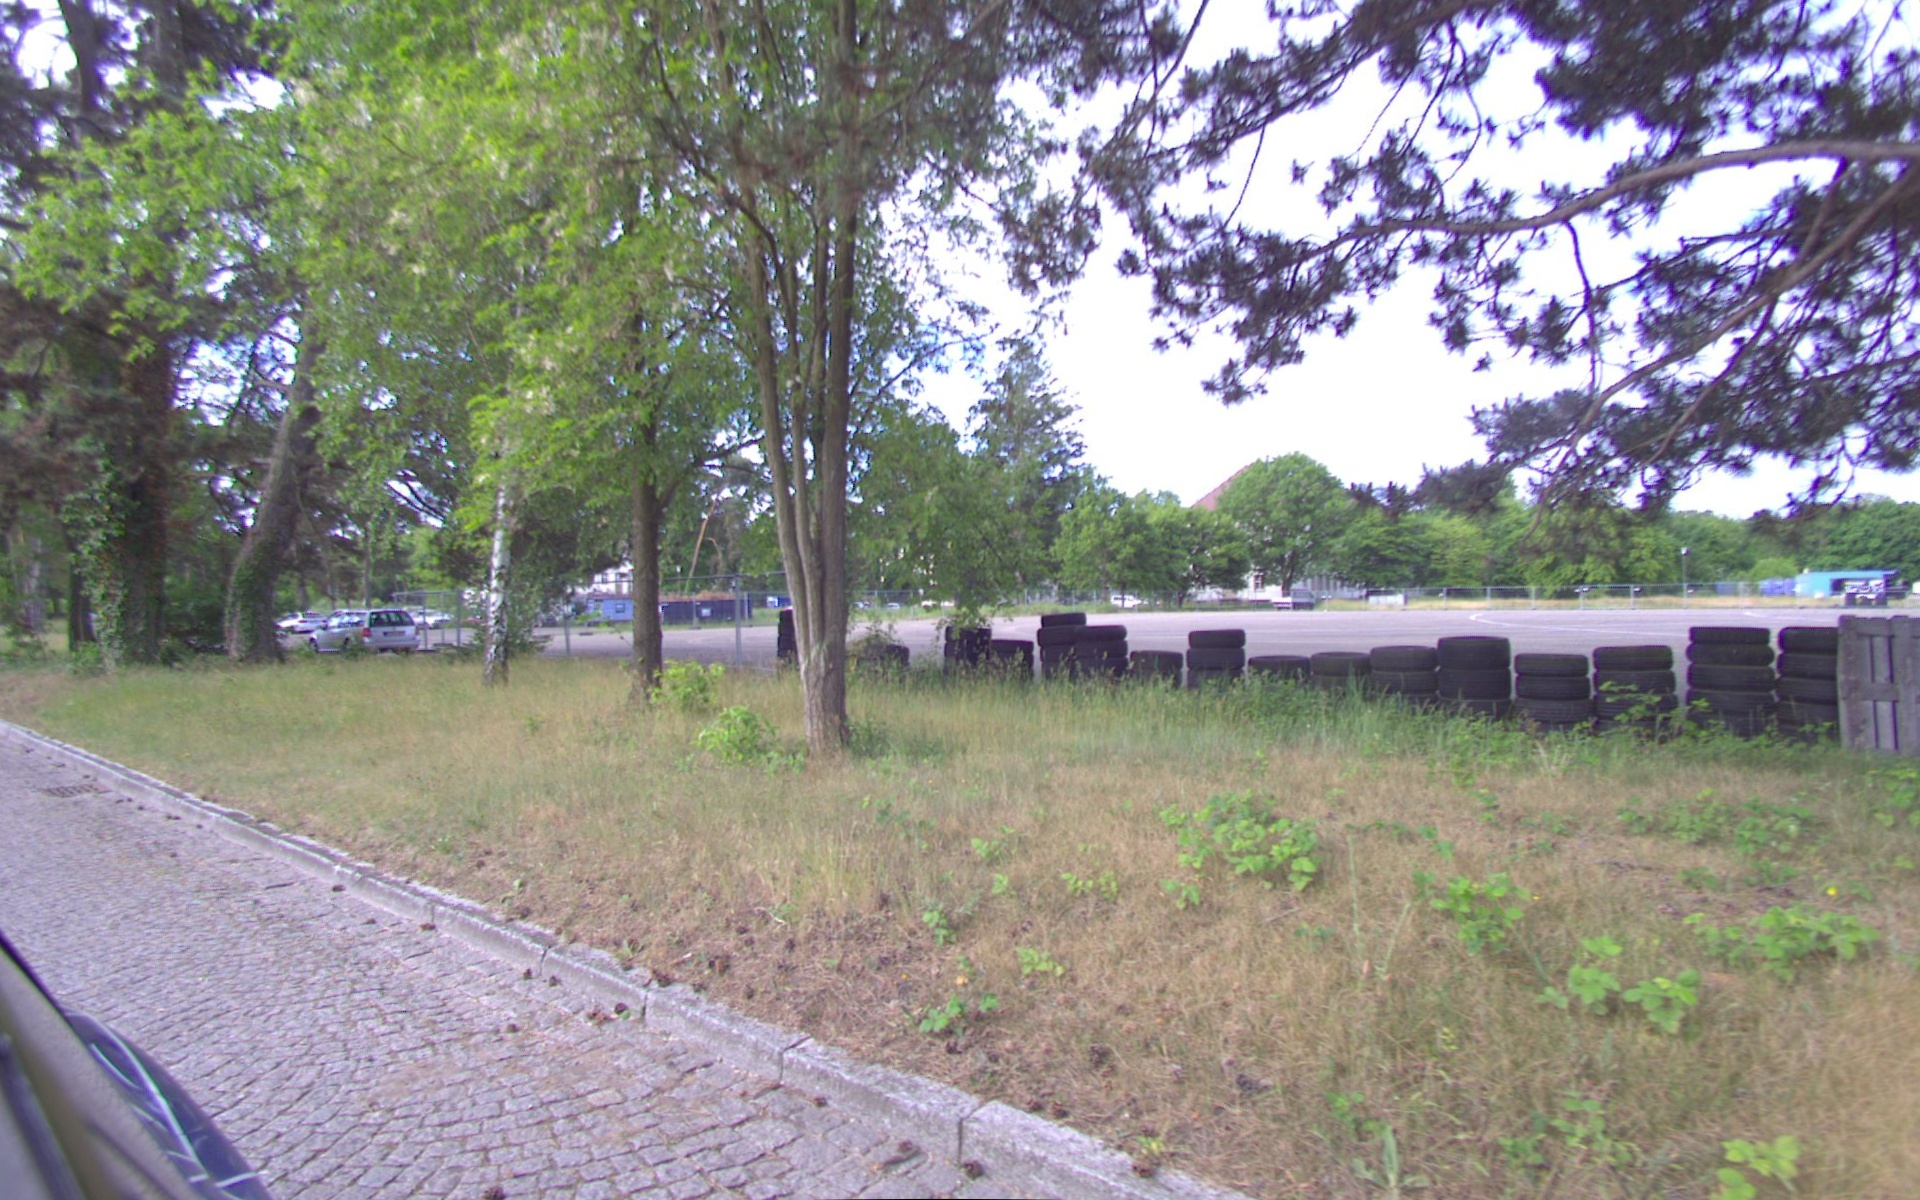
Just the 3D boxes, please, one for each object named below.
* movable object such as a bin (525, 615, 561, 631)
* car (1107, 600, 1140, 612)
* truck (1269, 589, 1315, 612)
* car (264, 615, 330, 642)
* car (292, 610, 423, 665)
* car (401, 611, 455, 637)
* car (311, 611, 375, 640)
[{"bbox_3d":[-24.783,1.358,60.152,1.930,0.940,1.030,-1,-1,32],"label":"movable object such as a bin"},{"bbox_3d":[24.667,0.939,152.856,4.576,1.645,1.818,-1,0,37],"label":"car"},{"bbox_3d":[33.921,0.057,103.398,2.371,2.215,6.471,-1,0,38],"label":"truck"},{"bbox_3d":[-39.982,1.723,61.009,4.647,1.461,1.818,-4,-2,37],"label":"car"},{"bbox_3d":[-17.459,1.065,29.249,4.459,1.449,1.700,-1,0,37],"label":"car"},{"bbox_3d":[-35.568,1.630,67.618,4.110,1.533,1.715,-4,-2,40],"label":"car"},{"bbox_3d":[-38.520,1.599,63.144,4.576,1.590,1.818,-4,-2,37],"label":"car"}]
